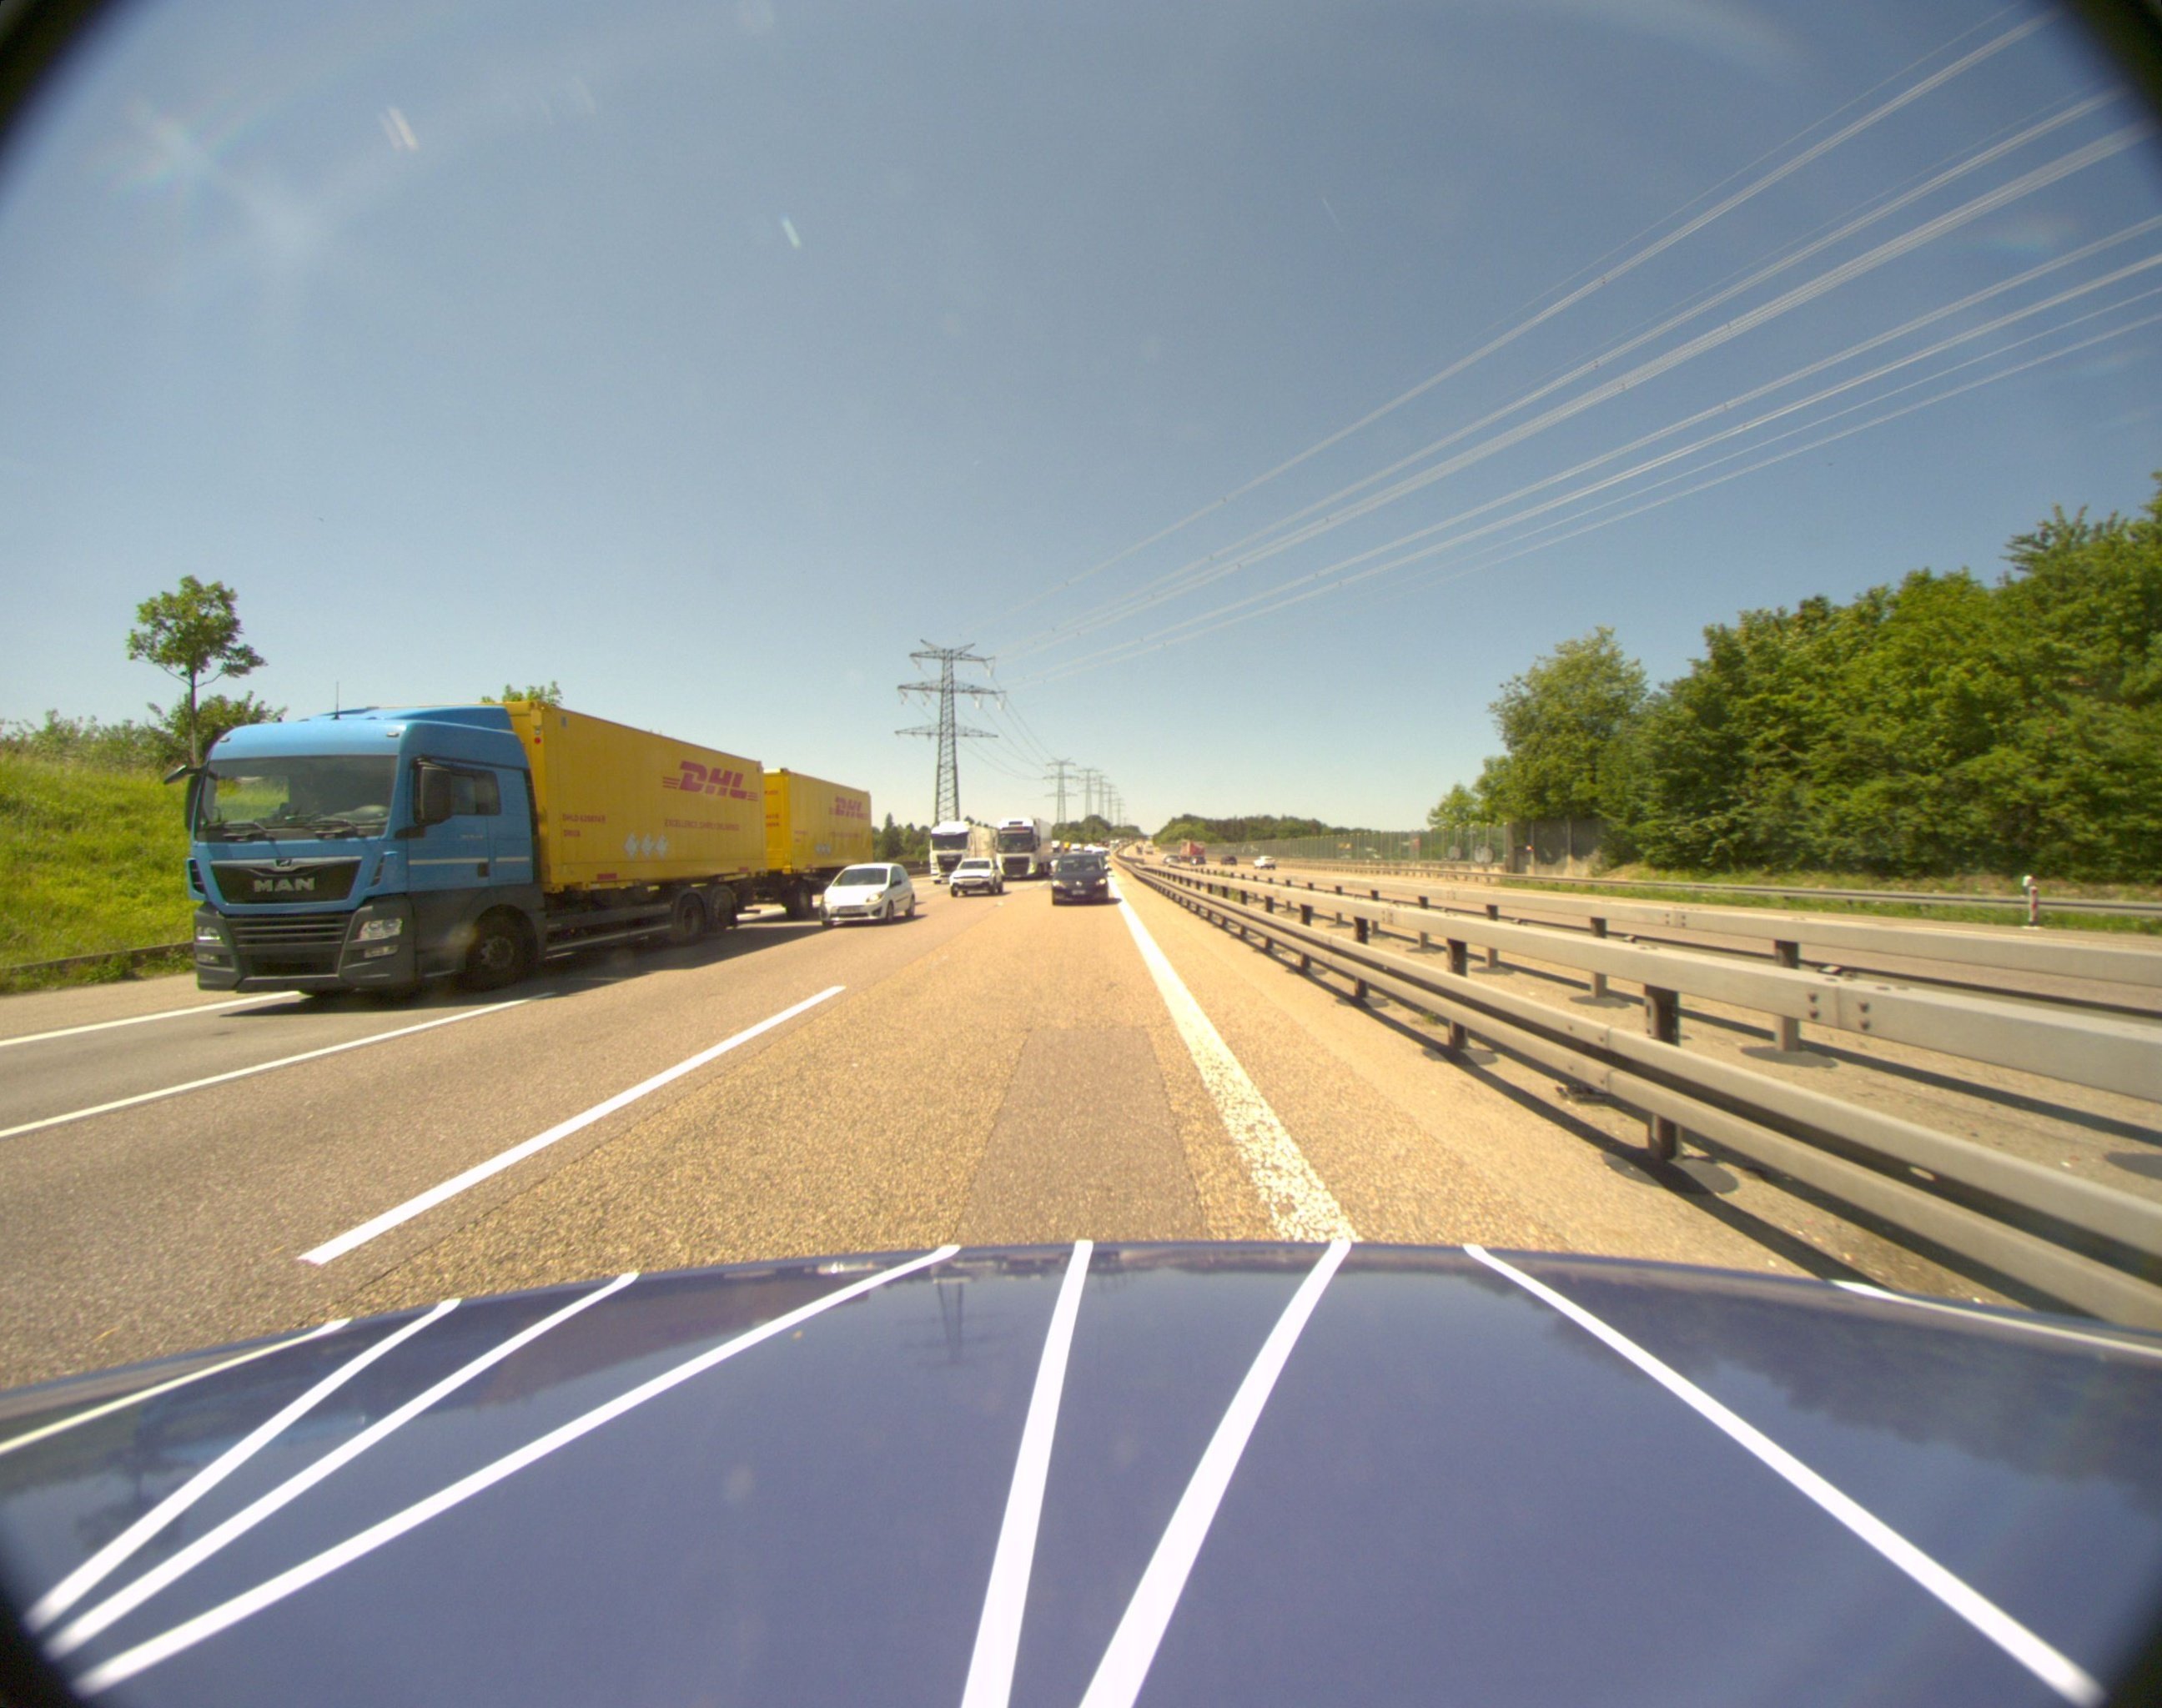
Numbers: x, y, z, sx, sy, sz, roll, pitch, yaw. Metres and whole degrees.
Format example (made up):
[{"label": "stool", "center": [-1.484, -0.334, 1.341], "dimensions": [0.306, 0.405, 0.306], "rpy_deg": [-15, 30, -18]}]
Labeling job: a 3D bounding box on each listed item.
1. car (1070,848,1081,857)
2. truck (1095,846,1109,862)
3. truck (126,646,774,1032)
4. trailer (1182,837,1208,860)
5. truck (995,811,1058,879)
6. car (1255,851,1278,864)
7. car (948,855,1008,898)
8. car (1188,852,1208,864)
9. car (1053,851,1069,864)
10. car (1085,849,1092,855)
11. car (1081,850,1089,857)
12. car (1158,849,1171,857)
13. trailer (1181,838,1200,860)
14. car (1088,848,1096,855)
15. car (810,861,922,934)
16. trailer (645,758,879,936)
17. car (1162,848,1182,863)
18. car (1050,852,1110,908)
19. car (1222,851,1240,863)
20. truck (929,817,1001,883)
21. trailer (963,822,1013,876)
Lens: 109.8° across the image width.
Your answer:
[{"label": "car", "center": [-0.960, -0.245, 134.543], "dimensions": [1.821, 1.569, 4.000], "rpy_deg": [-2, 1, 1]}, {"label": "truck", "center": [3.729, -0.025, 136.242], "dimensions": [2.309, 2.789, 5.109], "rpy_deg": [-2, 1, 2]}, {"label": "truck", "center": [-8.857, -0.148, 13.228], "dimensions": [2.772, 4.085, 9.952], "rpy_deg": [-2, 0, 0]}, {"label": "trailer", "center": [20.509, -0.953, 137.661], "dimensions": [2.770, 3.953, 14.681], "rpy_deg": [1, 0, 1]}, {"label": "truck", "center": [-3.547, -0.573, 53.551], "dimensions": [2.717, 4.015, 14.257], "rpy_deg": [-2, 0, 2]}, {"label": "car", "center": [21.923, 0.392, 90.025], "dimensions": [1.689, 1.447, 4.345], "rpy_deg": [0, 1, 0]}, {"label": "car", "center": [-4.207, 0.881, 31.599], "dimensions": [1.776, 1.521, 3.851], "rpy_deg": [-2, 1, 2]}, {"label": "car", "center": [14.610, 0.518, 95.107], "dimensions": [1.881, 1.438, 4.144], "rpy_deg": [0, 1, 0]}, {"label": "car", "center": [-2.479, 0.442, 96.110], "dimensions": [1.821, 1.569, 4.000], "rpy_deg": [-2, 1, 1]}, {"label": "car", "center": [1.963, -0.481, 198.445], "dimensions": [1.821, 1.569, 4.000], "rpy_deg": [-2, 1, 1]}, {"label": "car", "center": [1.080, -0.203, 183.600], "dimensions": [1.821, 1.569, 4.000], "rpy_deg": [-2, 1, 1]}, {"label": "car", "center": [15.371, -0.146, 140.545], "dimensions": [1.855, 1.458, 4.303], "rpy_deg": [0, 1, 0]}, {"label": "trailer", "center": [20.637, -0.950, 143.598], "dimensions": [2.764, 3.953, 6.131], "rpy_deg": [1, 0, 1]}, {"label": "car", "center": [3.160, -0.758, 217.485], "dimensions": [1.998, 2.002, 4.000], "rpy_deg": [-2, 1, 1]}, {"label": "car", "center": [-5.352, 1.022, 19.403], "dimensions": [1.659, 1.502, 3.825], "rpy_deg": [-2, 1, 1]}, {"label": "trailer", "center": [-8.782, -0.151, 22.643], "dimensions": [2.772, 4.093, 9.377], "rpy_deg": [-2, 0, 1]}, {"label": "car", "center": [10.610, 0.116, 88.529], "dimensions": [1.778, 1.621, 3.950], "rpy_deg": [-2, 1, 0]}, {"label": "car", "center": [0.044, 0.778, 24.717], "dimensions": [1.748, 1.569, 4.000], "rpy_deg": [-2, 1, 2]}, {"label": "car", "center": [22.558, 0.428, 114.622], "dimensions": [1.998, 1.567, 5.275], "rpy_deg": [-2, 1, 4]}, {"label": "truck", "center": [-7.659, -0.308, 51.816], "dimensions": [2.695, 3.907, 11.297], "rpy_deg": [-2, 0, 1]}, {"label": "trailer", "center": [-7.362, -0.407, 61.354], "dimensions": [2.752, 3.918, 7.773], "rpy_deg": [-2, 1, 2]}]
